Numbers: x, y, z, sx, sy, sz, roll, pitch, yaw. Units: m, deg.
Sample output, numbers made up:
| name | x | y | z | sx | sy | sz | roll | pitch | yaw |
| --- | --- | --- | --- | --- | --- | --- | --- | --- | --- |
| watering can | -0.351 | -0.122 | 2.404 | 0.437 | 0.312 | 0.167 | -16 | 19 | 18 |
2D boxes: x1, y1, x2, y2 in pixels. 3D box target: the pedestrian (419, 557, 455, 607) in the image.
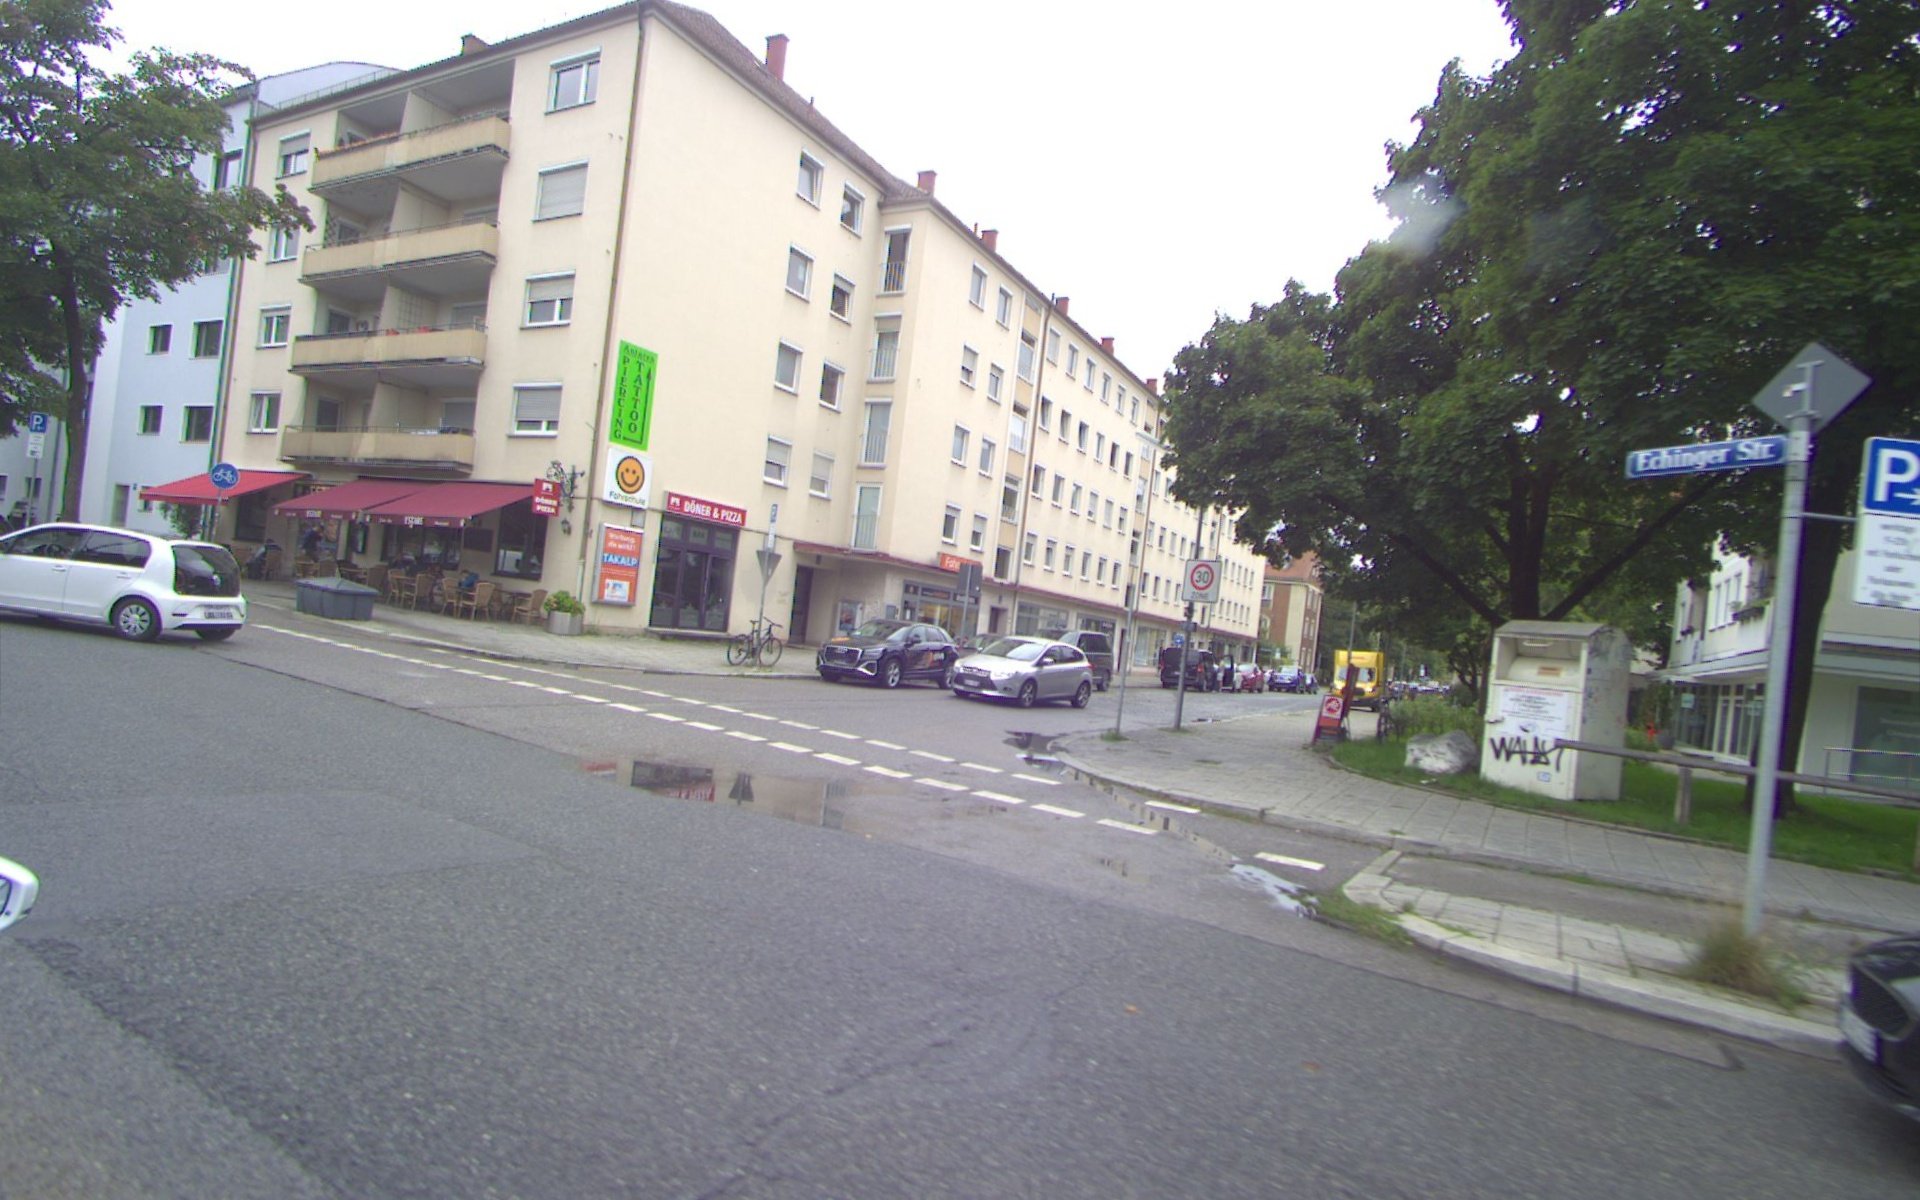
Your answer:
| name | x | y | z | sx | sy | sz | roll | pitch | yaw |
| --- | --- | --- | --- | --- | --- | --- | --- | --- | --- |
| pedestrian | -13.584 | -0.467 | 26.117 | 0.479 | 1.229 | 0.539 | 7 | 0 | 31 |

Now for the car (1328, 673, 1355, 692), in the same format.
| name | x | y | z | sx | sy | sz | roll | pitch | yaw |
| --- | --- | --- | --- | --- | --- | --- | --- | --- | --- |
| car | 34.703 | 7.485 | 91.490 | 1.573 | 1.459 | 3.763 | 7 | -2 | 30 |

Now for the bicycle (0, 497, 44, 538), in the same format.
| name | x | y | z | sx | sy | sz | roll | pitch | yaw |
| --- | --- | --- | --- | --- | --- | --- | --- | --- | --- |
| bicycle | -37.535 | -3.293 | 40.142 | 2.550 | 1.425 | 0.703 | 6 | 2 | 32 |

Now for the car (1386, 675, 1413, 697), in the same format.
| name | x | y | z | sx | sy | sz | roll | pitch | yaw |
| --- | --- | --- | --- | --- | --- | --- | --- | --- | --- |
| car | 37.931 | 7.453 | 86.806 | 1.573 | 1.638 | 3.763 | 7 | -2 | 30 |

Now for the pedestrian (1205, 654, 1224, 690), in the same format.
| name | x | y | z | sx | sy | sz | roll | pitch | yaw |
| --- | --- | --- | --- | --- | --- | --- | --- | --- | --- |
| pedestrian | 11.584 | 3.280 | 45.749 | 0.486 | 1.551 | 0.733 | 7 | -1 | 31 |

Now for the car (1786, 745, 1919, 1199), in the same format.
| name | x | y | z | sx | sy | sz | roll | pitch | yaw |
| --- | --- | --- | --- | --- | --- | --- | --- | --- | --- |
| car | 5.291 | 1.554 | 3.107 | 3.890 | 1.494 | 1.647 | 7 | -1 | 31 |

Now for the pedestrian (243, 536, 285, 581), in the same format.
| name | x | y | z | sx | sy | sz | roll | pitch | yaw |
| --- | --- | --- | --- | --- | --- | --- | --- | --- | --- |
| pedestrian | -20.509 | -1.217 | 29.647 | 0.636 | 1.177 | 0.744 | 7 | -1 | 31 |

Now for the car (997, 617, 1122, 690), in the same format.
| name | x | y | z | sx | sy | sz | roll | pitch | yaw |
| --- | --- | --- | --- | --- | --- | --- | --- | --- | --- |
| car | 3.289 | 1.775 | 32.254 | 1.966 | 1.907 | 4.994 | 7 | -2 | 30 |

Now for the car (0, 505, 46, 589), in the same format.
| name | x | y | z | sx | sy | sz | roll | pitch | yaw |
| --- | --- | --- | --- | --- | --- | --- | --- | --- | --- |
| car | -19.420 | -1.206 | 19.018 | 3.819 | 1.490 | 1.834 | 7 | -1 | 27 |

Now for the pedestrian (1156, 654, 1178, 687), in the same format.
| name | x | y | z | sx | sy | sz | roll | pitch | yaw |
| --- | --- | --- | --- | --- | --- | --- | --- | --- | --- |
| pedestrian | 9.533 | 3.247 | 46.407 | 0.721 | 1.427 | 0.494 | 7 | 0 | 28 |

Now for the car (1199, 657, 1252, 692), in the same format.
| name | x | y | z | sx | sy | sz | roll | pitch | yaw |
| --- | --- | --- | --- | --- | --- | --- | --- | --- | --- |
| car | 13.444 | 3.775 | 50.802 | 1.573 | 1.459 | 3.763 | 7 | -2 | 30 |

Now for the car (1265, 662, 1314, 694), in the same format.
| name | x | y | z | sx | sy | sz | roll | pitch | yaw |
| --- | --- | --- | --- | --- | --- | --- | --- | --- | --- |
| car | 22.147 | 5.271 | 67.461 | 1.966 | 1.806 | 4.994 | 7 | -2 | 30 |

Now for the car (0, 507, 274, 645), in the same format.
| name | x | y | z | sx | sy | sz | roll | pitch | yaw |
| --- | --- | --- | --- | --- | --- | --- | --- | --- | --- |
| car | -11.960 | -0.352 | 14.090 | 3.372 | 1.507 | 1.692 | 7 | -1 | -1 |

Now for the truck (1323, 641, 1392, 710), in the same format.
| name | x | y | z | sx | sy | sz | roll | pitch | yaw |
| --- | --- | --- | --- | --- | --- | --- | --- | --- | --- |
| truck | 18.972 | 3.619 | 47.809 | 2.236 | 2.803 | 6.765 | 7 | -1 | 26 |

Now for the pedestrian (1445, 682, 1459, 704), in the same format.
| name | x | y | z | sx | sy | sz | roll | pitch | yaw |
| --- | --- | --- | --- | --- | --- | --- | --- | --- | --- |
| pedestrian | 48.212 | 9.097 | 98.606 | 0.893 | 2.038 | 1.078 | 7 | 0 | 32 |

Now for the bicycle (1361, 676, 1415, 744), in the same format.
| name | x | y | z | sx | sy | sz | roll | pitch | yaw |
| --- | --- | --- | --- | --- | --- | --- | --- | --- | --- |
| bicycle | 8.318 | 2.123 | 19.519 | 0.687 | 1.170 | 1.472 | 7 | -1 | 29 |

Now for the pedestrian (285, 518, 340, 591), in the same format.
| name | x | y | z | sx | sy | sz | roll | pitch | yaw |
| --- | --- | --- | --- | --- | --- | --- | --- | --- | --- |
| pedestrian | -18.650 | -1.288 | 28.987 | 0.747 | 1.952 | 0.871 | 7 | 0 | 15 |

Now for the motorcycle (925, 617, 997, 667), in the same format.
| name | x | y | z | sx | sy | sz | roll | pitch | yaw |
| --- | --- | --- | --- | --- | --- | --- | --- | --- | --- |
| motorcycle | 0.063 | 1.490 | 34.787 | 0.875 | 1.459 | 3.259 | 7 | -2 | 29 |

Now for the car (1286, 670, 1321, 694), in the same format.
| name | x | y | z | sx | sy | sz | roll | pitch | yaw |
| --- | --- | --- | --- | --- | --- | --- | --- | --- | --- |
| car | 24.874 | 5.945 | 72.748 | 1.573 | 1.459 | 3.763 | 7 | -2 | 30 |

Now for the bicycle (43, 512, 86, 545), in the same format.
| name | x | y | z | sx | sy | sz | roll | pitch | yaw |
| --- | --- | --- | --- | --- | --- | --- | --- | --- | --- |
| bicycle | -33.745 | -2.688 | 37.909 | 2.159 | 1.061 | 0.621 | 6 | 3 | 32 |

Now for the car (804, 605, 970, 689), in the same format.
| name | x | y | z | sx | sy | sz | roll | pitch | yaw |
| --- | --- | --- | --- | --- | --- | --- | --- | --- | --- |
| car | -1.545 | 1.122 | 22.778 | 1.701 | 1.537 | 3.933 | 7 | -2 | 30 |

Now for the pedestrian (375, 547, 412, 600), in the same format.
| name | x | y | z | sx | sy | sz | roll | pitch | yaw |
| --- | --- | --- | --- | --- | --- | --- | --- | --- | --- |
| pedestrian | -15.378 | -0.712 | 27.316 | 0.543 | 1.355 | 0.539 | 7 | 0 | 30 |

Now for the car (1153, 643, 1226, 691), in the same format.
| name | x | y | z | sx | sy | sz | roll | pitch | yaw |
| --- | --- | --- | --- | --- | --- | --- | --- | --- | --- |
| car | 10.492 | 3.058 | 45.712 | 2.117 | 1.806 | 4.999 | 7 | -2 | 25 |

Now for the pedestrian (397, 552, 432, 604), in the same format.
| name | x | y | z | sx | sy | sz | roll | pitch | yaw |
| --- | --- | --- | --- | --- | --- | --- | --- | --- | --- |
| pedestrian | -14.420 | -0.582 | 26.597 | 0.478 | 1.283 | 0.539 | 7 | 0 | 30 |

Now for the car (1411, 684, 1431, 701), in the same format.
| name | x | y | z | sx | sy | sz | roll | pitch | yaw |
| --- | --- | --- | --- | --- | --- | --- | --- | --- | --- |
| car | 50.769 | 10.170 | 110.763 | 1.573 | 1.638 | 3.763 | 7 | -2 | 30 |

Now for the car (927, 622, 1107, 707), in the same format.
| name | x | y | z | sx | sy | sz | roll | pitch | yaw |
| --- | --- | --- | --- | --- | --- | --- | --- | --- | --- |
| car | 1.360 | 1.480 | 22.283 | 1.968 | 1.459 | 4.212 | 6 | -2 | 34 |

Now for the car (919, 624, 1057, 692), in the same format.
| name | x | y | z | sx | sy | sz | roll | pitch | yaw |
| --- | --- | --- | --- | --- | --- | --- | --- | --- | --- |
| car | 0.841 | 1.617 | 27.176 | 1.966 | 1.459 | 3.995 | 7 | -2 | 30 |

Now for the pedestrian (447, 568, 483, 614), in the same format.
| name | x | y | z | sx | sy | sz | roll | pitch | yaw |
| --- | --- | --- | --- | --- | --- | --- | --- | --- | --- |
| pedestrian | -12.383 | -0.231 | 25.168 | 0.479 | 1.066 | 0.539 | 7 | 0 | 31 |

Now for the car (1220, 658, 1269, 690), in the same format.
| name | x | y | z | sx | sy | sz | roll | pitch | yaw |
| --- | --- | --- | --- | --- | --- | --- | --- | --- | --- |
| car | 15.472 | 4.056 | 54.625 | 1.573 | 1.459 | 3.763 | 7 | -2 | 30 |

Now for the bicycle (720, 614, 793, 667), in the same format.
| name | x | y | z | sx | sy | sz | roll | pitch | yaw |
| --- | --- | --- | --- | --- | --- | --- | --- | --- | --- |
| bicycle | -4.459 | 0.913 | 22.166 | 0.545 | 1.023 | 1.541 | 7 | -1 | 34 |
